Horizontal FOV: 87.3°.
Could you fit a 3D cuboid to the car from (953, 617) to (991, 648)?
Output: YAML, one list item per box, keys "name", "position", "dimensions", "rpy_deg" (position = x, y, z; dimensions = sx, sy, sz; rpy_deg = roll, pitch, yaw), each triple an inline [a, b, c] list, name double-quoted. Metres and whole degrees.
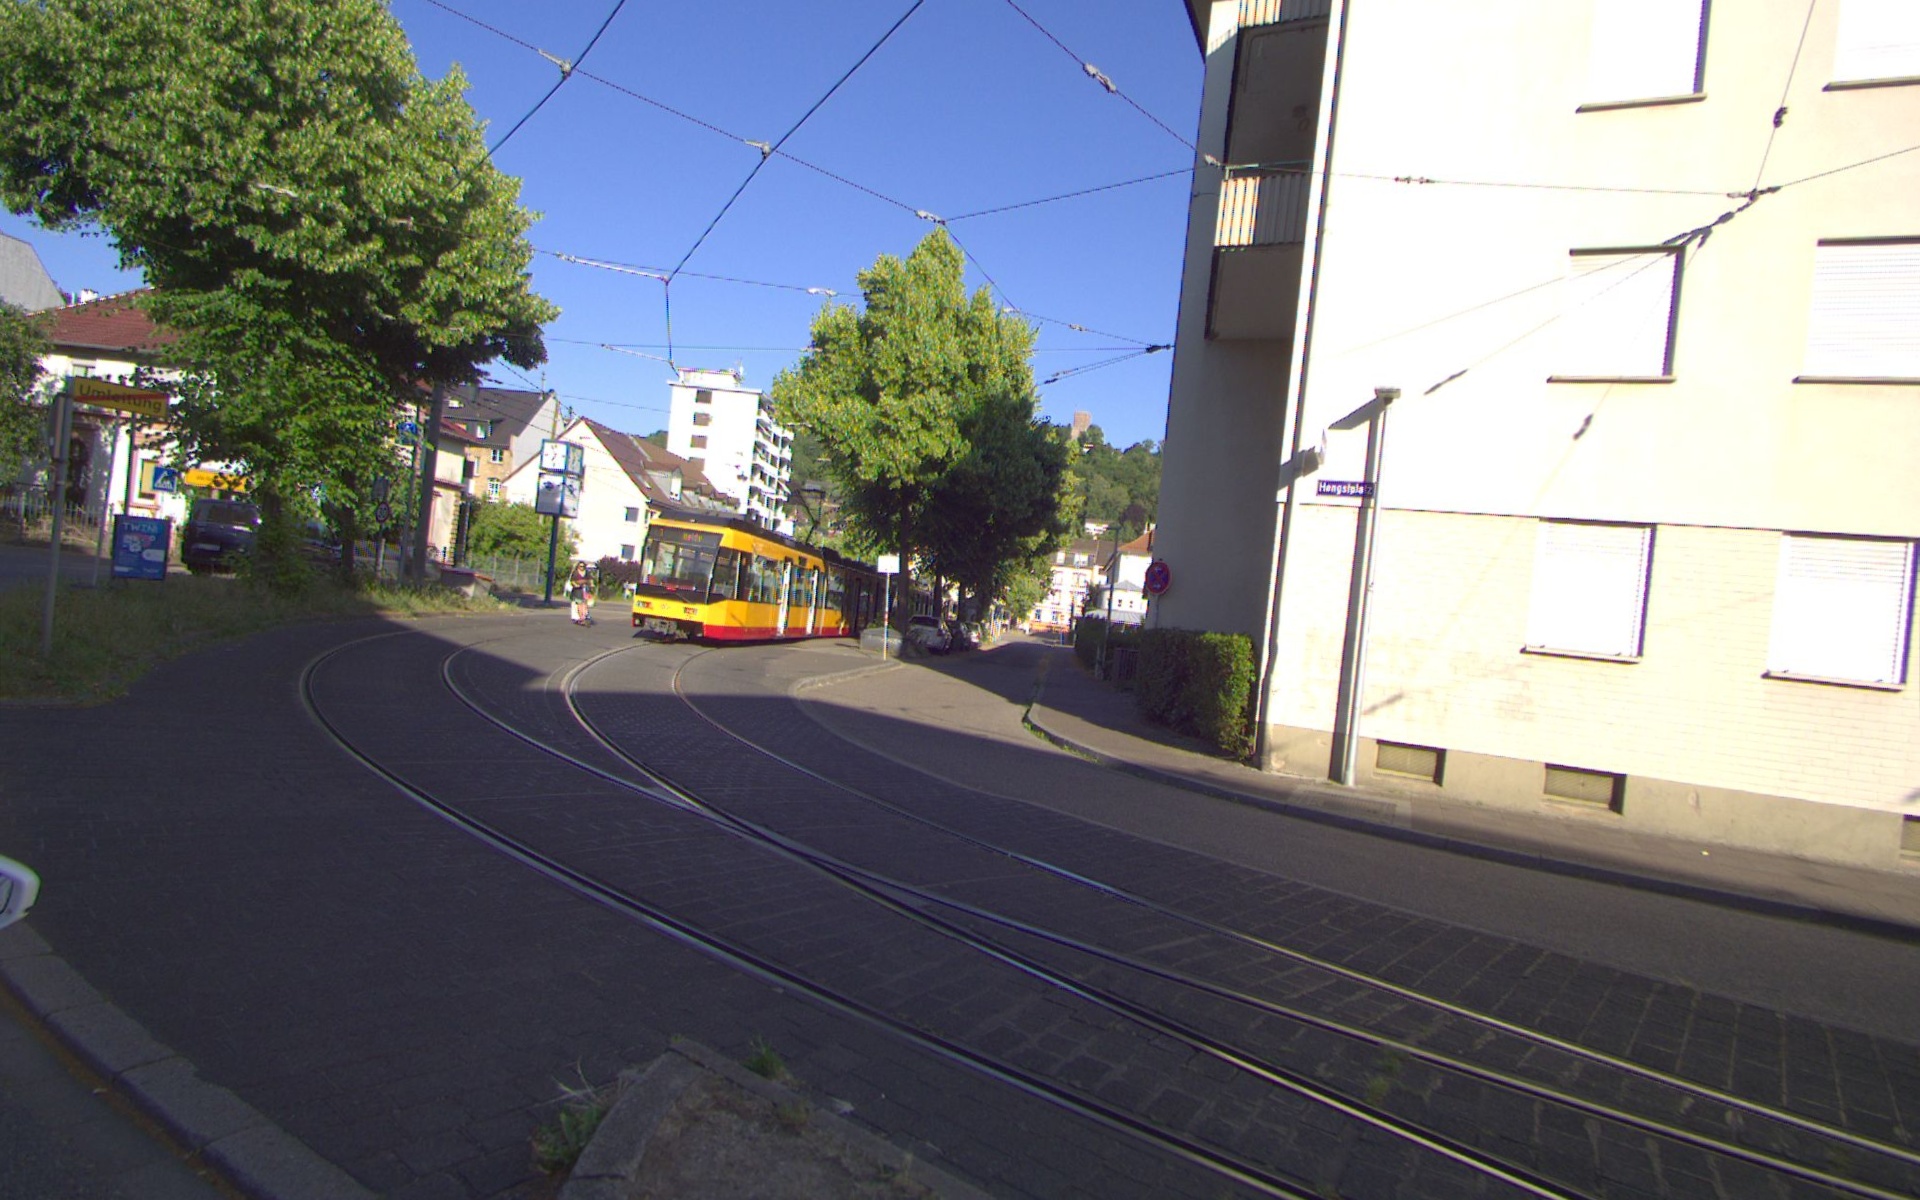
- name: "car"
  position: [0.763, 1.928, 59.474]
  dimensions: [1.699, 1.547, 3.799]
  rpy_deg: [6, -2, 7]

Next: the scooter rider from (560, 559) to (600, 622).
- name: "scooter rider"
  position: [-10.693, -0.252, 28.316]
  dimensions: [0.597, 1.693, 0.654]
  rpy_deg: [6, 0, 25]

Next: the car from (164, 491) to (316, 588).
- name: "car"
  position: [-18.373, -1.455, 25.908]
  dimensions: [1.972, 2.037, 3.984]
  rpy_deg: [7, -1, -20]

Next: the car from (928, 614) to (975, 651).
- name: "car"
  position: [-0.371, 1.651, 49.466]
  dimensions: [1.699, 1.547, 3.799]
  rpy_deg: [6, -2, 7]

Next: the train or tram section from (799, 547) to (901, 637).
- name: "train or tram section"
  position: [-5.061, -0.196, 48.382]
  dimensions: [2.731, 3.598, 9.927]
  rpy_deg: [6, -1, 4]

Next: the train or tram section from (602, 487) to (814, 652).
- name: "train or tram section"
  position: [-6.655, -0.574, 28.623]
  dimensions: [2.732, 3.598, 9.926]
  rpy_deg: [6, -1, 3]

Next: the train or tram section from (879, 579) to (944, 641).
- name: "train or tram section"
  position: [-3.145, 0.799, 68.135]
  dimensions: [2.731, 3.598, 9.927]
  rpy_deg: [6, -1, 5]

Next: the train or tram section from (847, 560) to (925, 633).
- name: "train or tram section"
  position: [-4.096, -0.013, 58.241]
  dimensions: [2.731, 3.598, 9.927]
  rpy_deg: [6, -1, 4]

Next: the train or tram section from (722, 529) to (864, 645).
- name: "train or tram section"
  position: [-6.066, -0.280, 38.523]
  dimensions: [2.731, 3.598, 9.927]
  rpy_deg: [6, -1, 4]

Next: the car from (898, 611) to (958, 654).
- name: "car"
  position: [-1.229, 1.316, 40.572]
  dimensions: [1.657, 1.458, 4.004]
  rpy_deg: [7, -1, 8]

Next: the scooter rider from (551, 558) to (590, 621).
- name: "scooter rider"
  position: [-11.005, -0.292, 28.460]
  dimensions: [0.597, 1.693, 0.654]
  rpy_deg: [6, 0, 25]

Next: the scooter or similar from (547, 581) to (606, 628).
- name: "scooter or similar"
  position: [-10.826, 0.123, 28.402]
  dimensions: [1.381, 1.151, 0.685]
  rpy_deg: [7, 0, 22]
